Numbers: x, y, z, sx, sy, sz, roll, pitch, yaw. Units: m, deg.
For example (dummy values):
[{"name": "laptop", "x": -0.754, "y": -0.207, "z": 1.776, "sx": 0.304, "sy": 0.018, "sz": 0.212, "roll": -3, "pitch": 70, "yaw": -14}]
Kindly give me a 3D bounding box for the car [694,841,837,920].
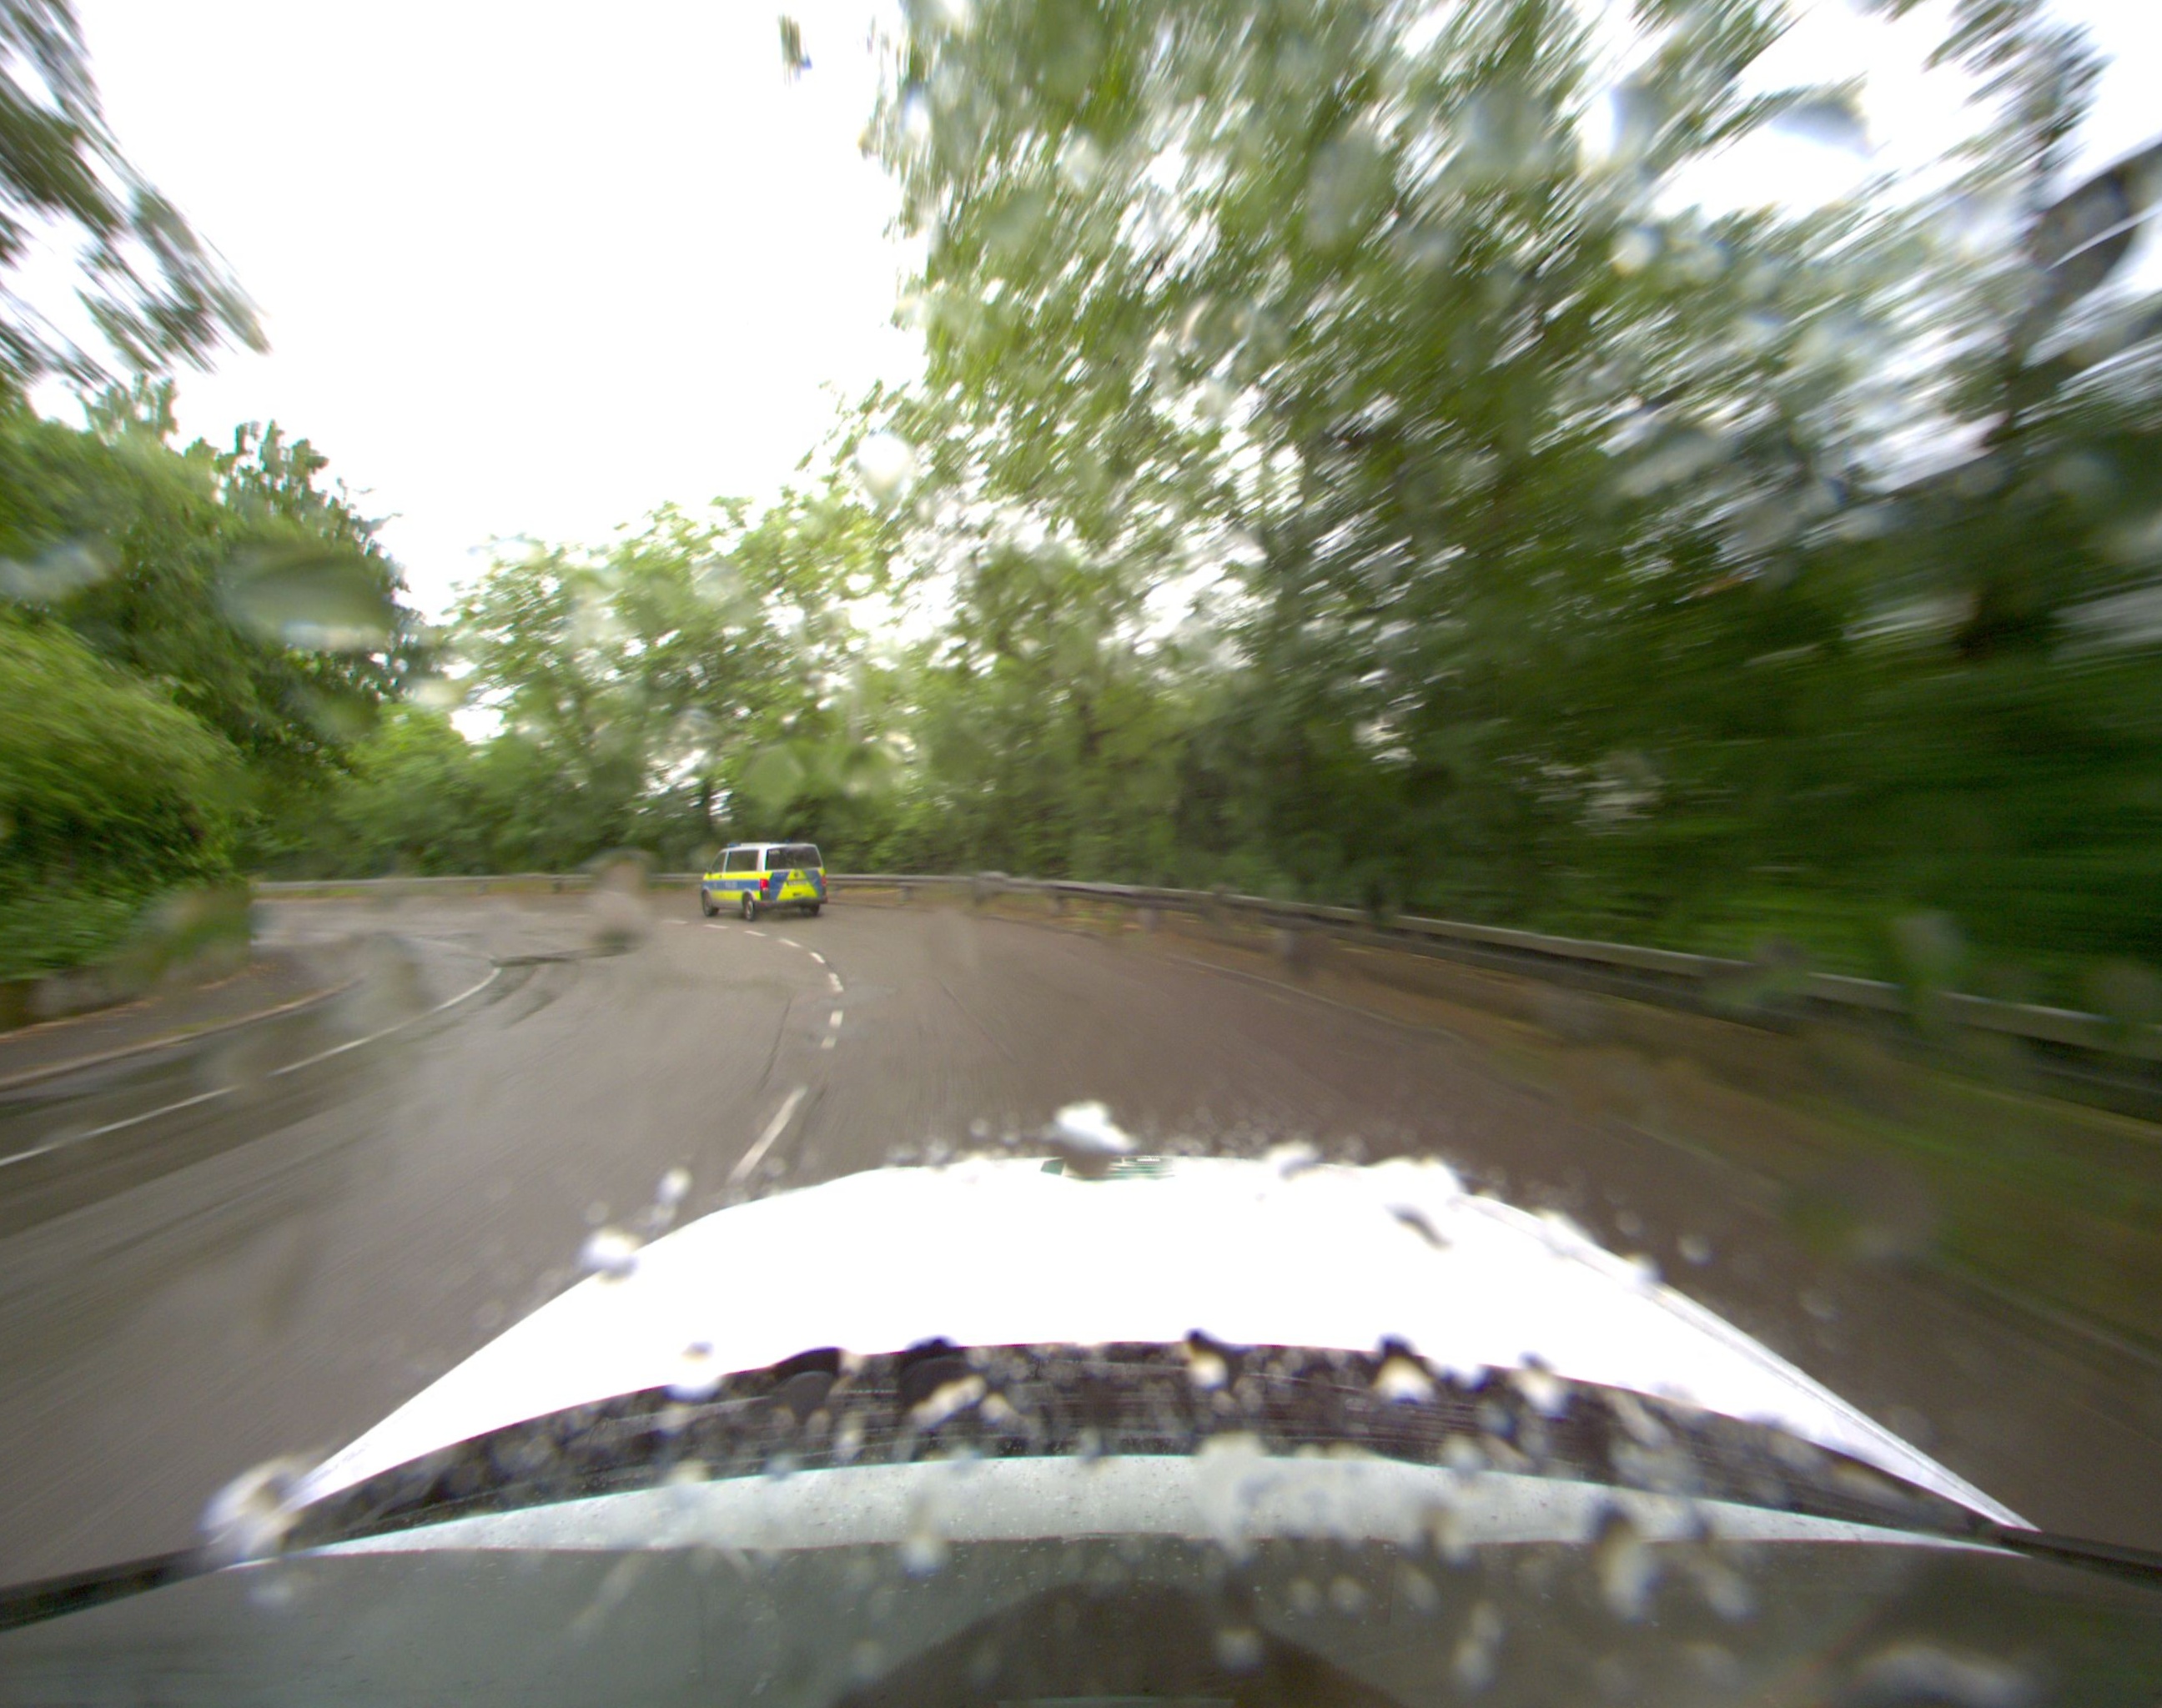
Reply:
[{"name": "car", "x": -8.791, "y": 0.710, "z": 22.501, "sx": 2.012, "sy": 1.893, "sz": 4.513, "roll": -3, "pitch": 0, "yaw": -44}]
